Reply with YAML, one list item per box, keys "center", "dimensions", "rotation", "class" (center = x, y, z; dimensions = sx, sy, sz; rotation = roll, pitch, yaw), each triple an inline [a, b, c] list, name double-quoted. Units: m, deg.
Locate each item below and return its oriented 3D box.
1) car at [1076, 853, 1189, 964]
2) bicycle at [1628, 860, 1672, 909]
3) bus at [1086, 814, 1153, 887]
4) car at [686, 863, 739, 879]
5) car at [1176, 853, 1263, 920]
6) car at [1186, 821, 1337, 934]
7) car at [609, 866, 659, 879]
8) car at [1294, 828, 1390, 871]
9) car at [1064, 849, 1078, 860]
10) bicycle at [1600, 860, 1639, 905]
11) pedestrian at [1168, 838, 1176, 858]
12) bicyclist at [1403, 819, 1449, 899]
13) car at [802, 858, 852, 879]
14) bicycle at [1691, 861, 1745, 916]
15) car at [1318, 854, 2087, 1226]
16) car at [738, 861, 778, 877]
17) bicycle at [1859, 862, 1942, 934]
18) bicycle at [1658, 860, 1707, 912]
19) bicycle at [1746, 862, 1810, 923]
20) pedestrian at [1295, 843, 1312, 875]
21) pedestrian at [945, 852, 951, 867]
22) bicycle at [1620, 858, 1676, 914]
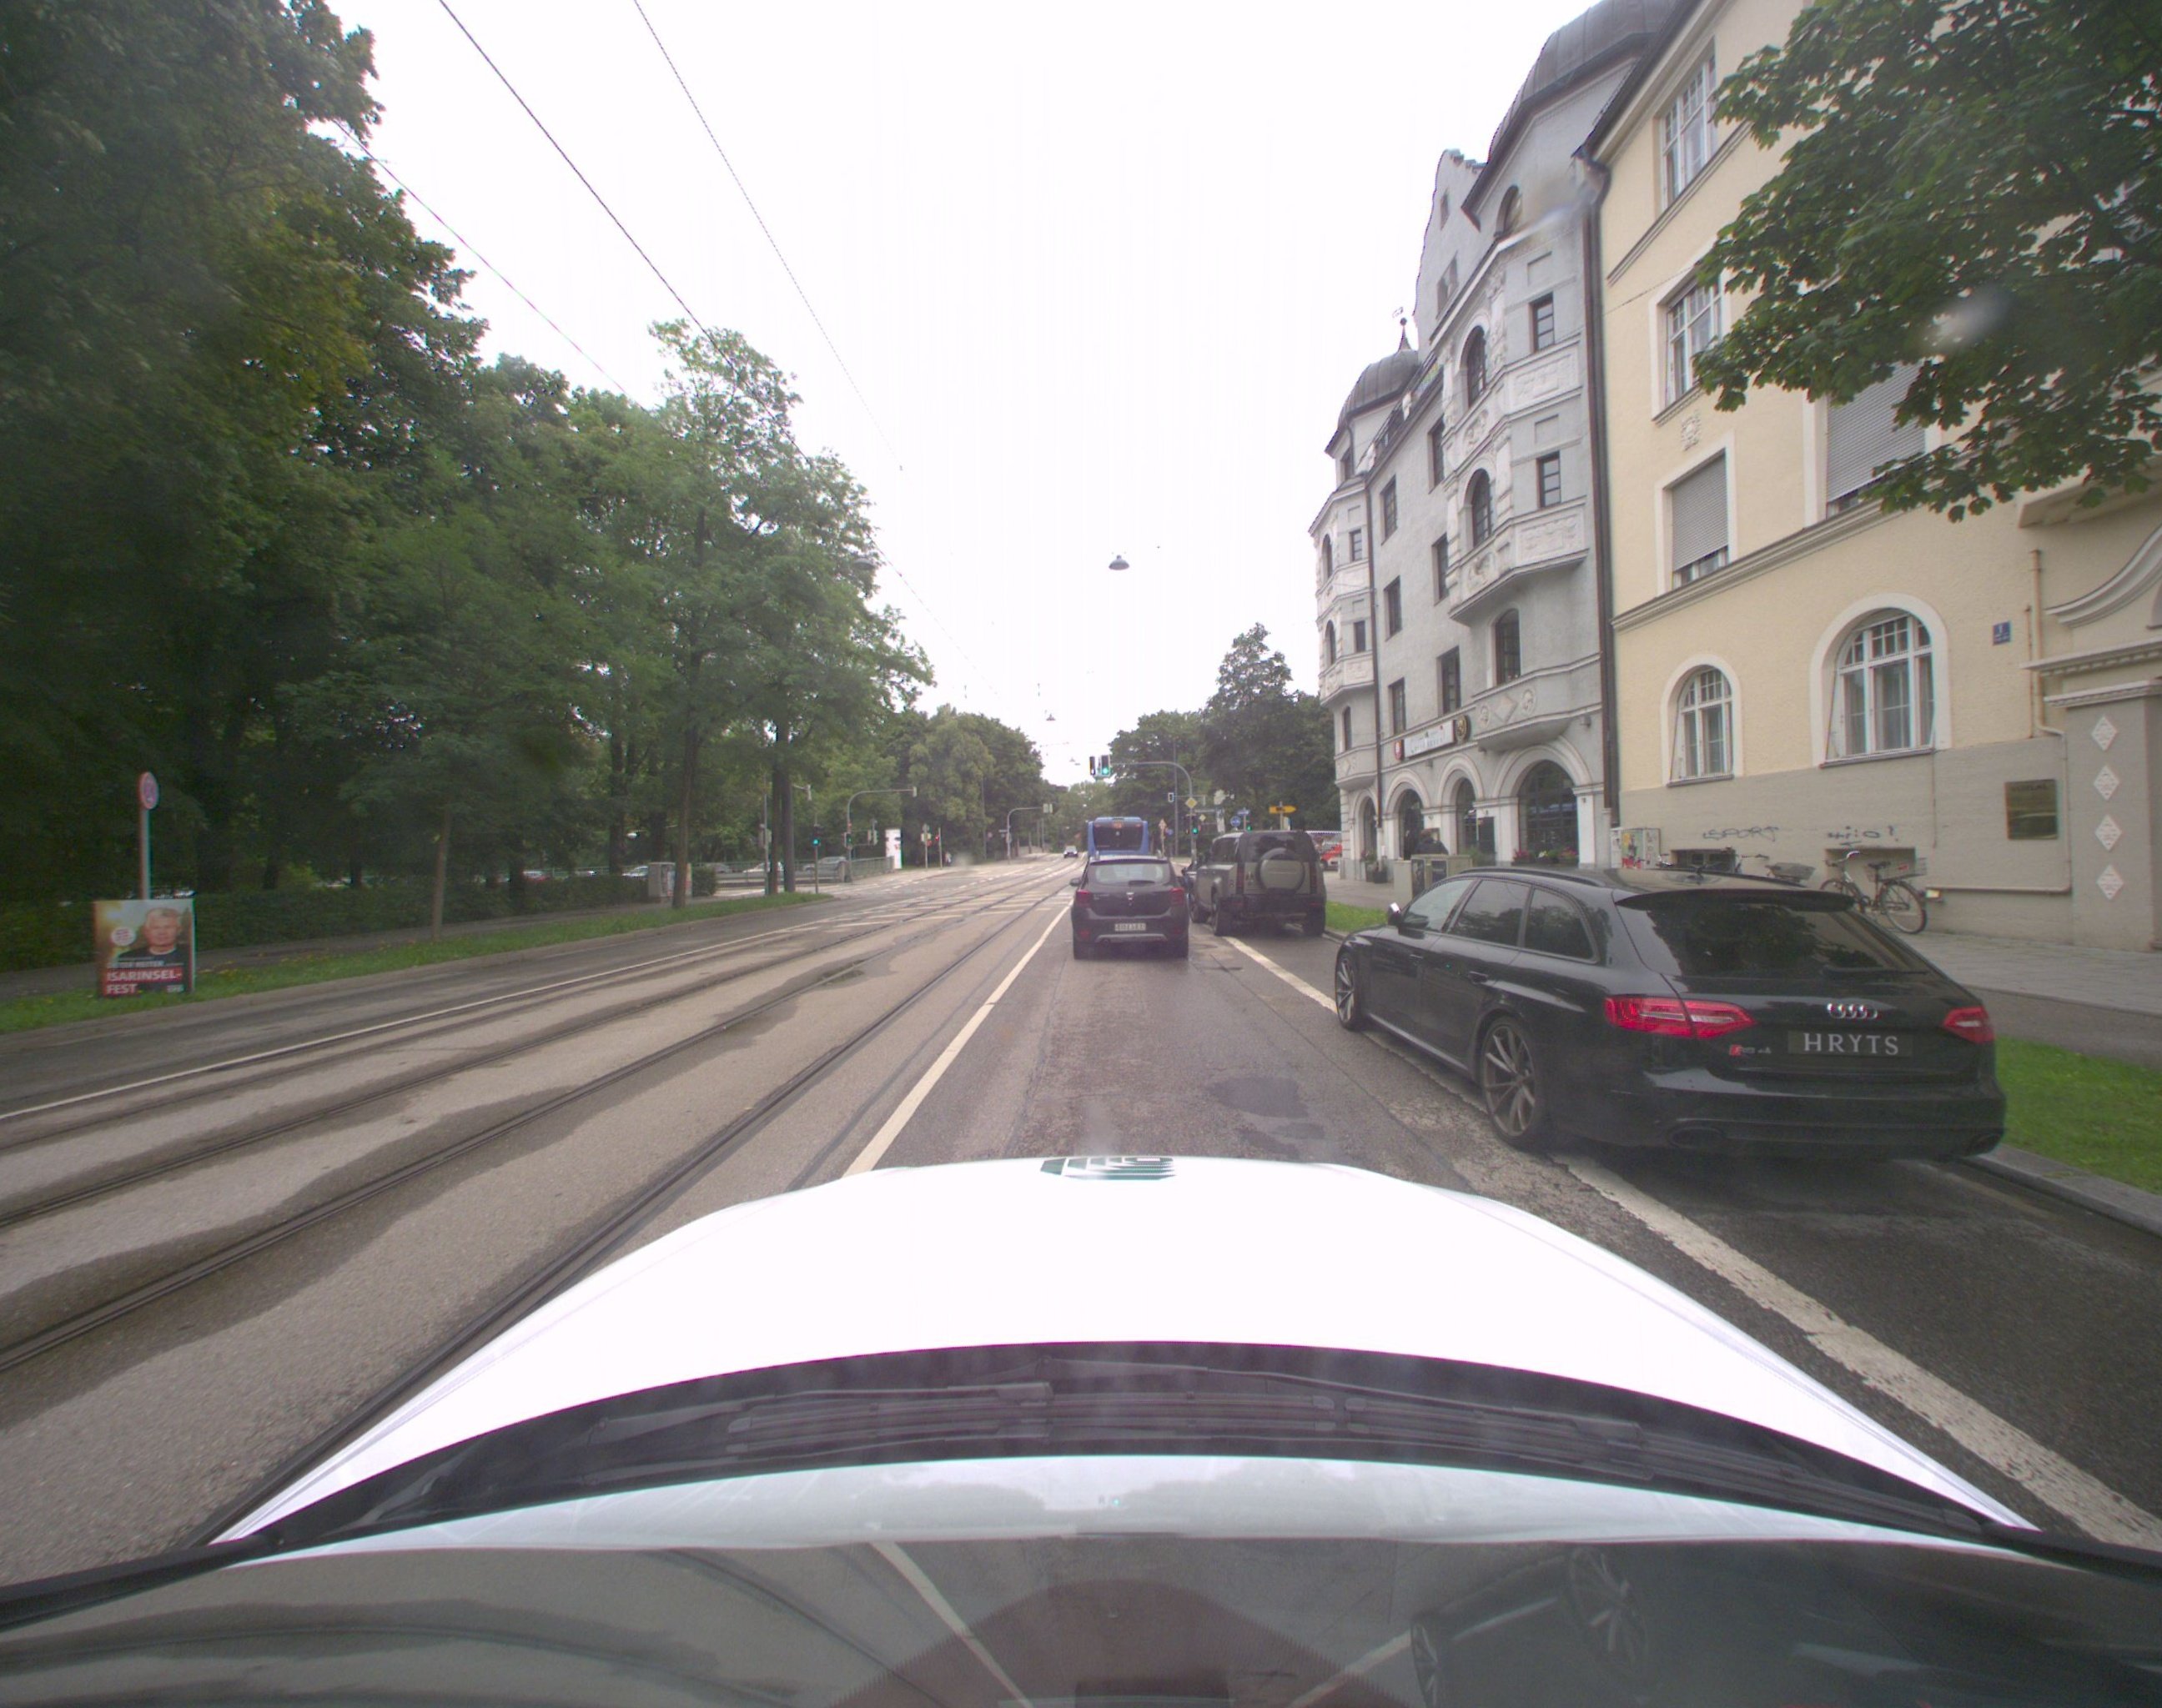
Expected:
- center: [0.766, 0.768, 13.197]
  dimensions: [1.595, 1.556, 3.526]
  rotation: [0, 0, 1]
  class: "car"
- center: [11.243, 0.594, 16.118]
  dimensions: [0.289, 0.930, 0.886]
  rotation: [0, -1, 3]
  class: "bicycle"
- center: [1.594, -0.123, 36.597]
  dimensions: [2.670, 2.997, 6.959]
  rotation: [0, 0, 0]
  class: "bus"
- center: [-32.959, 1.500, 72.978]
  dimensions: [3.915, 1.404, 1.719]
  rotation: [0, 0, -3]
  class: "car"
- center: [3.560, 0.779, 21.569]
  dimensions: [1.708, 1.591, 4.329]
  rotation: [0, 0, 2]
  class: "car"
- center: [3.361, 0.409, 16.123]
  dimensions: [1.908, 1.906, 4.806]
  rotation: [0, 0, 0]
  class: "car"
- center: [-39.851, 1.646, 72.678]
  dimensions: [3.720, 1.185, 1.249]
  rotation: [0, 0, -4]
  class: "car"
- center: [16.175, -0.275, 50.718]
  dimensions: [5.280, 2.612, 2.229]
  rotation: [0, -1, -2]
  class: "car"
- center: [-1.258, 0.050, 103.872]
  dimensions: [1.782, 1.370, 3.400]
  rotation: [0, 0, 0]
  class: "car"
- center: [11.272, 0.586, 17.055]
  dimensions: [0.258, 0.930, 0.886]
  rotation: [0, -1, 3]
  class: "bicycle"
- center: [9.730, -0.595, 87.323]
  dimensions: [0.760, 2.116, 0.854]
  rotation: [-2, 0, 2]
  class: "pedestrian"
- center: [7.603, 0.115, 17.961]
  dimensions: [0.722, 1.729, 0.726]
  rotation: [0, -1, 1]
  class: "bicyclist"
- center: [-22.913, 1.298, 73.580]
  dimensions: [4.015, 1.887, 1.488]
  rotation: [0, -1, -5]
  class: "car"
- center: [11.087, 0.584, 14.190]
  dimensions: [0.271, 0.930, 0.886]
  rotation: [0, -1, 3]
  class: "bicycle"
- center: [3.057, 0.727, 5.436]
  dimensions: [1.709, 1.426, 4.603]
  rotation: [0, 0, 1]
  class: "car"
- center: [-28.949, 1.348, 73.094]
  dimensions: [3.103, 1.452, 1.249]
  rotation: [0, -1, -4]
  class: "car"
- center: [10.975, 0.571, 10.925]
  dimensions: [0.220, 0.930, 0.886]
  rotation: [0, 0, 1]
  class: "bicycle"
- center: [11.179, 0.584, 15.158]
  dimensions: [0.304, 0.930, 0.886]
  rotation: [0, -1, 4]
  class: "bicycle"
- center: [10.986, 0.594, 12.854]
  dimensions: [0.284, 0.930, 0.886]
  rotation: [0, -1, 3]
  class: "bicycle"
- center: [12.131, 0.280, 44.346]
  dimensions: [0.702, 1.732, 0.843]
  rotation: [0, -1, 2]
  class: "pedestrian"
- center: [-13.055, 0.520, 79.943]
  dimensions: [0.529, 1.501, 0.589]
  rotation: [0, -1, 6]
  class: "pedestrian"
- center: [10.801, 0.590, 15.538]
  dimensions: [0.241, 1.039, 1.224]
  rotation: [0, 0, 2]
  class: "bicycle"
